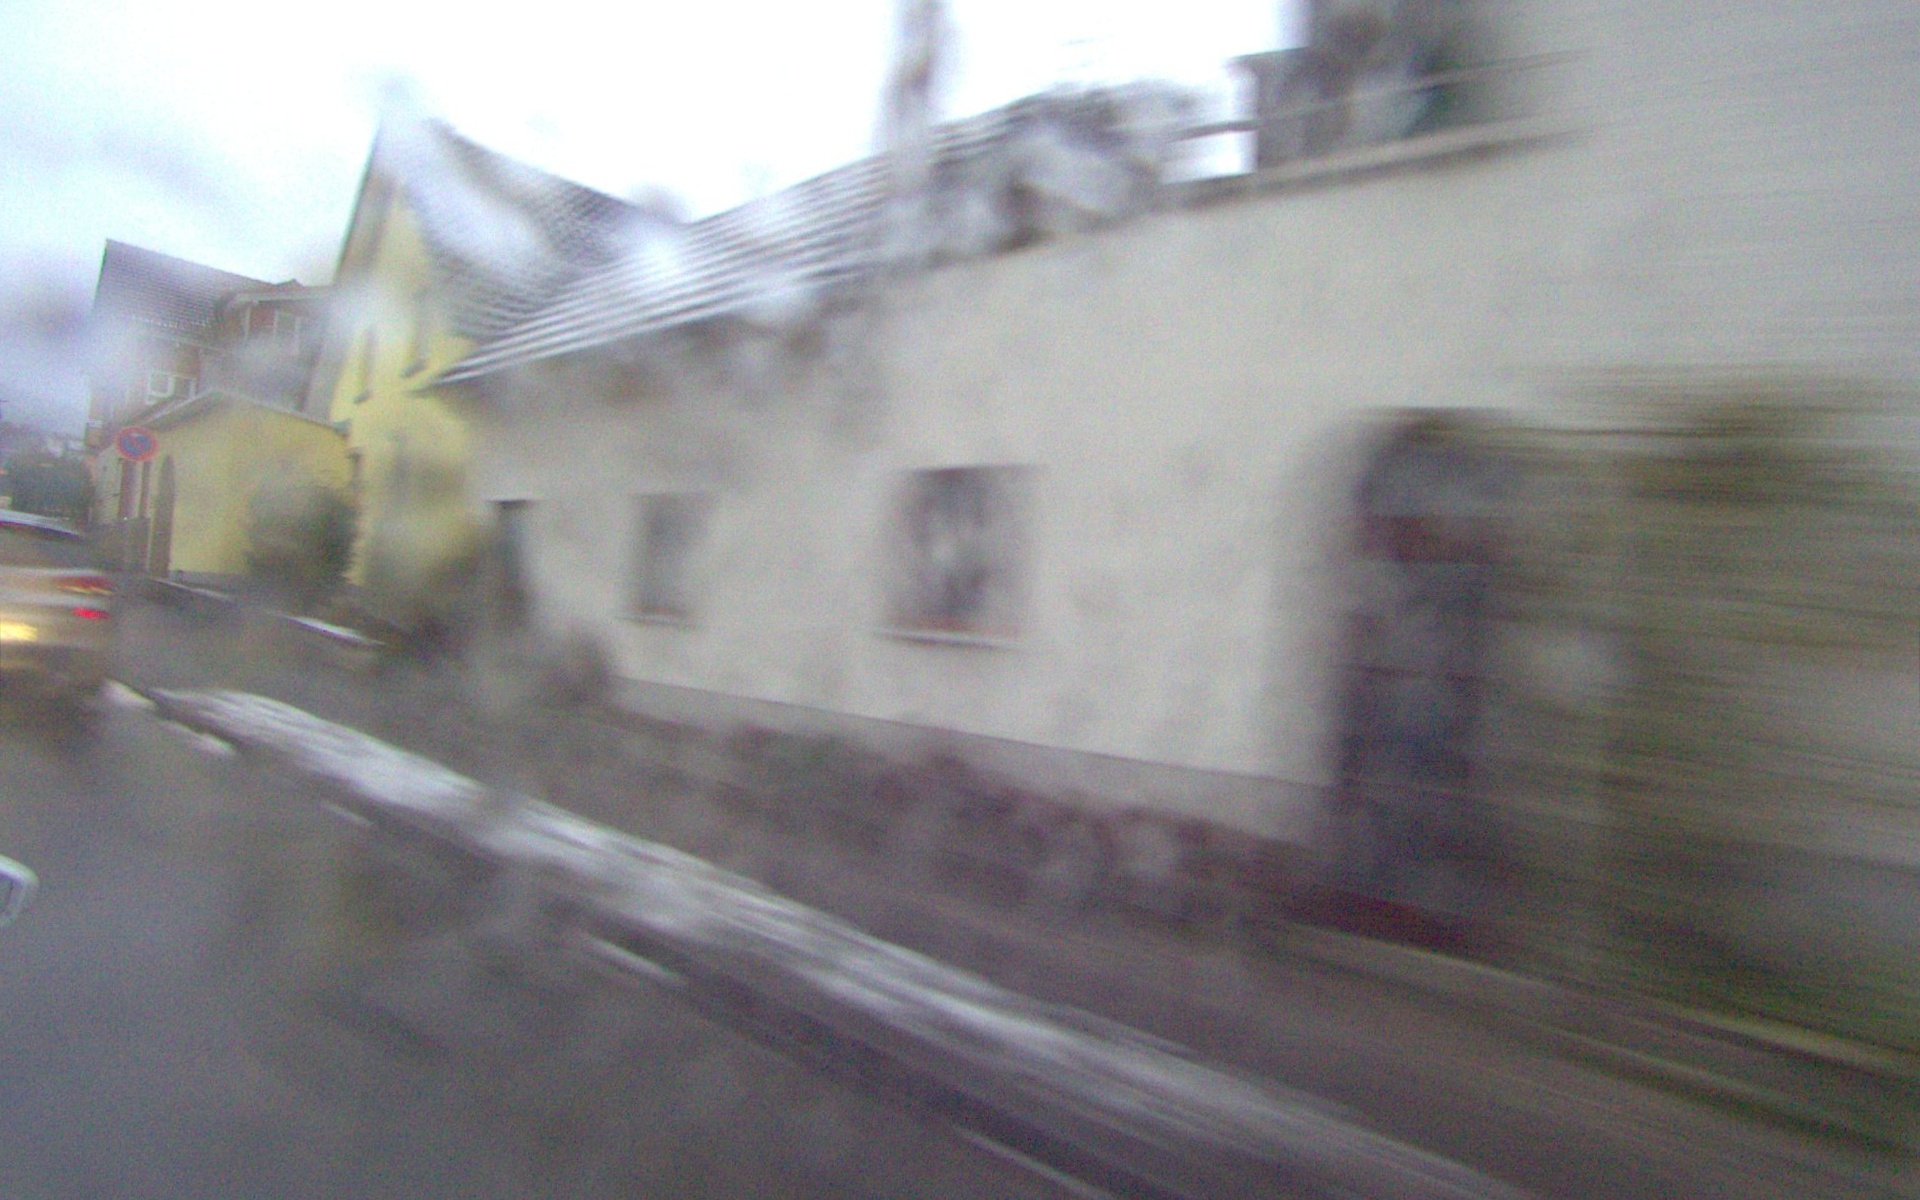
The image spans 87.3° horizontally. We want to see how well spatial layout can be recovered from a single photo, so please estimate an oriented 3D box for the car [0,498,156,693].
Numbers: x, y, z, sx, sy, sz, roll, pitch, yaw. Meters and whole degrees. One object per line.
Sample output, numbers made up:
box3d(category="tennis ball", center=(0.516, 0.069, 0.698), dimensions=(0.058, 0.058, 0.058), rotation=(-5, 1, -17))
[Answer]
box3d(category="car", center=(-9.032, -0.213, 9.100), dimensions=(4.556, 1.457, 1.789), rotation=(6, -1, 40))
